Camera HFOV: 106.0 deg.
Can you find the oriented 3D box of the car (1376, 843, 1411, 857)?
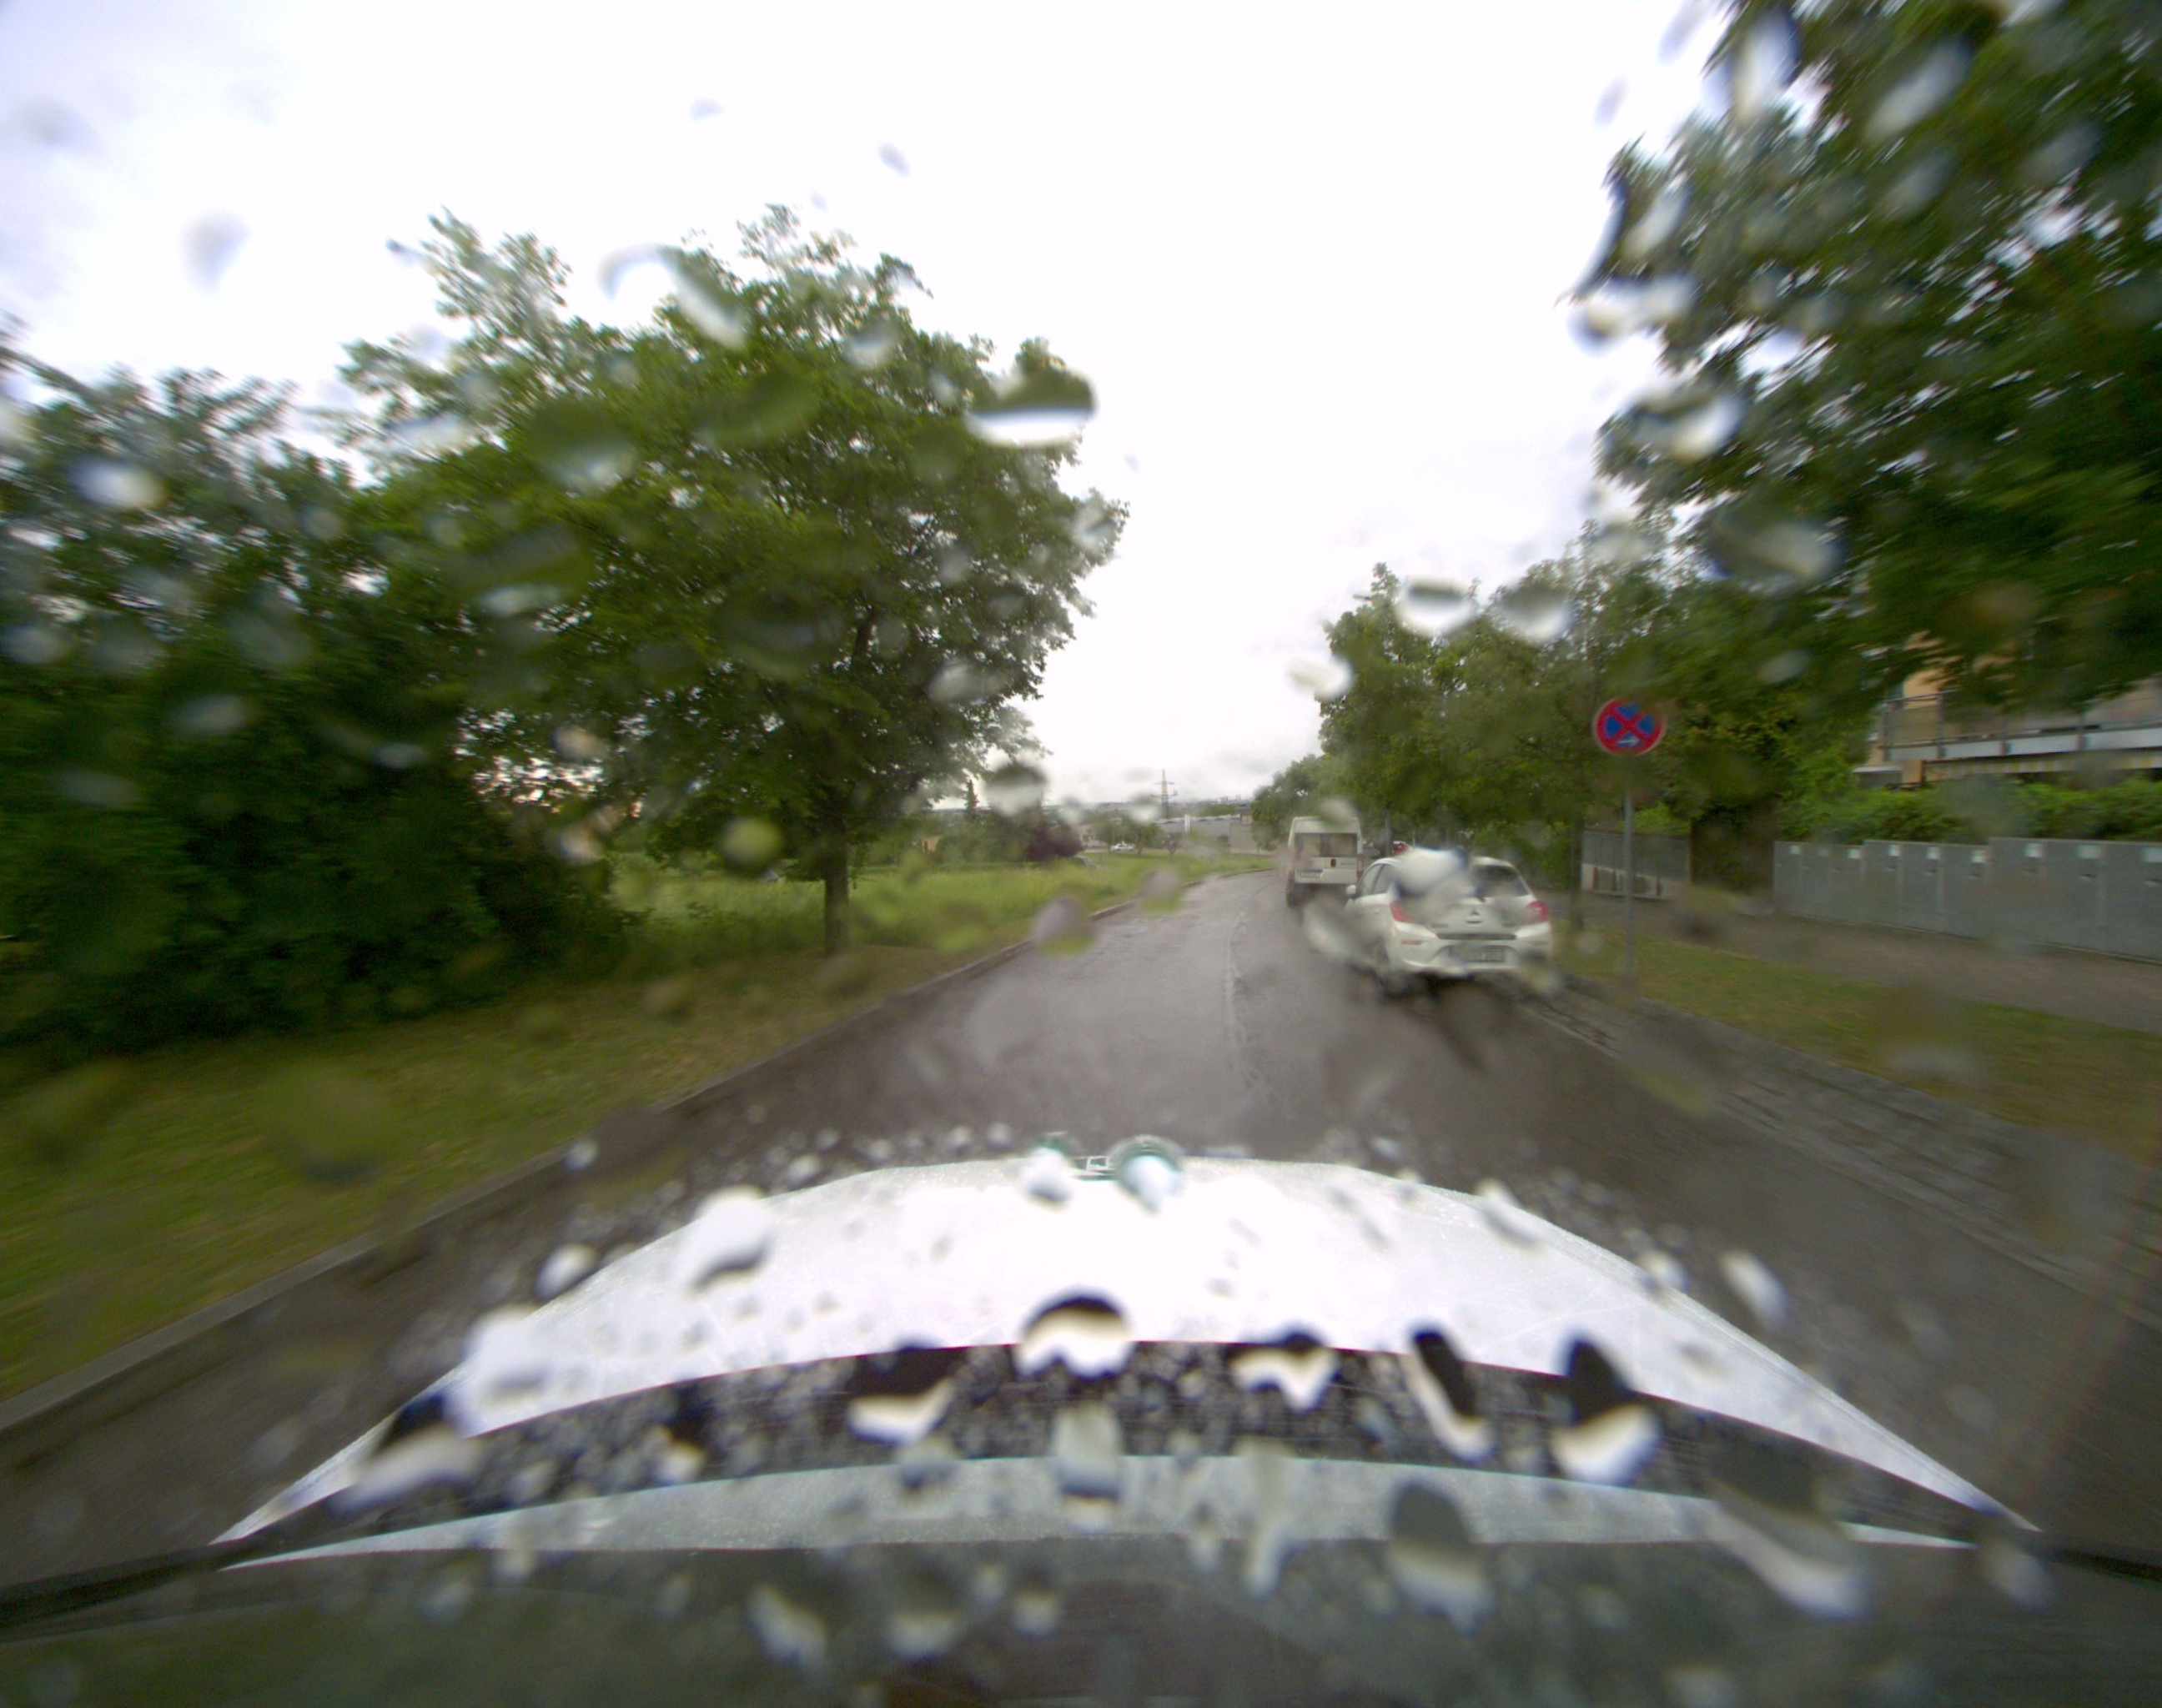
[{"bbox_3d":[37.328,-0.473,97.327,3.527,1.605,1.703,-2,-1,33],"label":"car"}]

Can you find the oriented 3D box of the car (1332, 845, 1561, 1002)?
[{"bbox_3d":[4.113,0.675,9.775,1.596,1.502,3.736,-1,0,9],"label":"car"}]

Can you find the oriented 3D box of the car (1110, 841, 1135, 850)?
[{"bbox_3d":[7.888,-1.611,154.008,4.280,1.701,1.784,0,3,-23],"label":"car"}]

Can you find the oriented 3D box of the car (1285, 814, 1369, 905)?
[{"bbox_3d":[7.380,0.145,24.909,2.103,2.467,5.530,-1,0,13],"label":"car"}]

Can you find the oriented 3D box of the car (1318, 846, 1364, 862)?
[{"bbox_3d":[25.431,0.004,79.575,3.949,1.361,1.866,-2,-1,30],"label":"car"}]

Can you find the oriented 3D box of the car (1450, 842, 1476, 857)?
[{"bbox_3d":[43.188,-0.549,92.029,1.670,1.551,3.720,1,3,41],"label":"car"}]

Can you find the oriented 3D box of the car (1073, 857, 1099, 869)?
[{"bbox_3d":[0.654,1.190,109.427,1.786,1.596,3.963,-2,1,-29],"label":"car"}]

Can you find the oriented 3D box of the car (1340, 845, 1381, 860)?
[{"bbox_3d":[29.618,-0.193,86.382,3.833,1.547,1.784,-1,0,29],"label":"car"}]

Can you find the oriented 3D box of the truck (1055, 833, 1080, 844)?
[{"bbox_3d":[-3.091,-3.609,188.722,5.334,2.308,2.417,0,3,-23],"label":"truck"}]
